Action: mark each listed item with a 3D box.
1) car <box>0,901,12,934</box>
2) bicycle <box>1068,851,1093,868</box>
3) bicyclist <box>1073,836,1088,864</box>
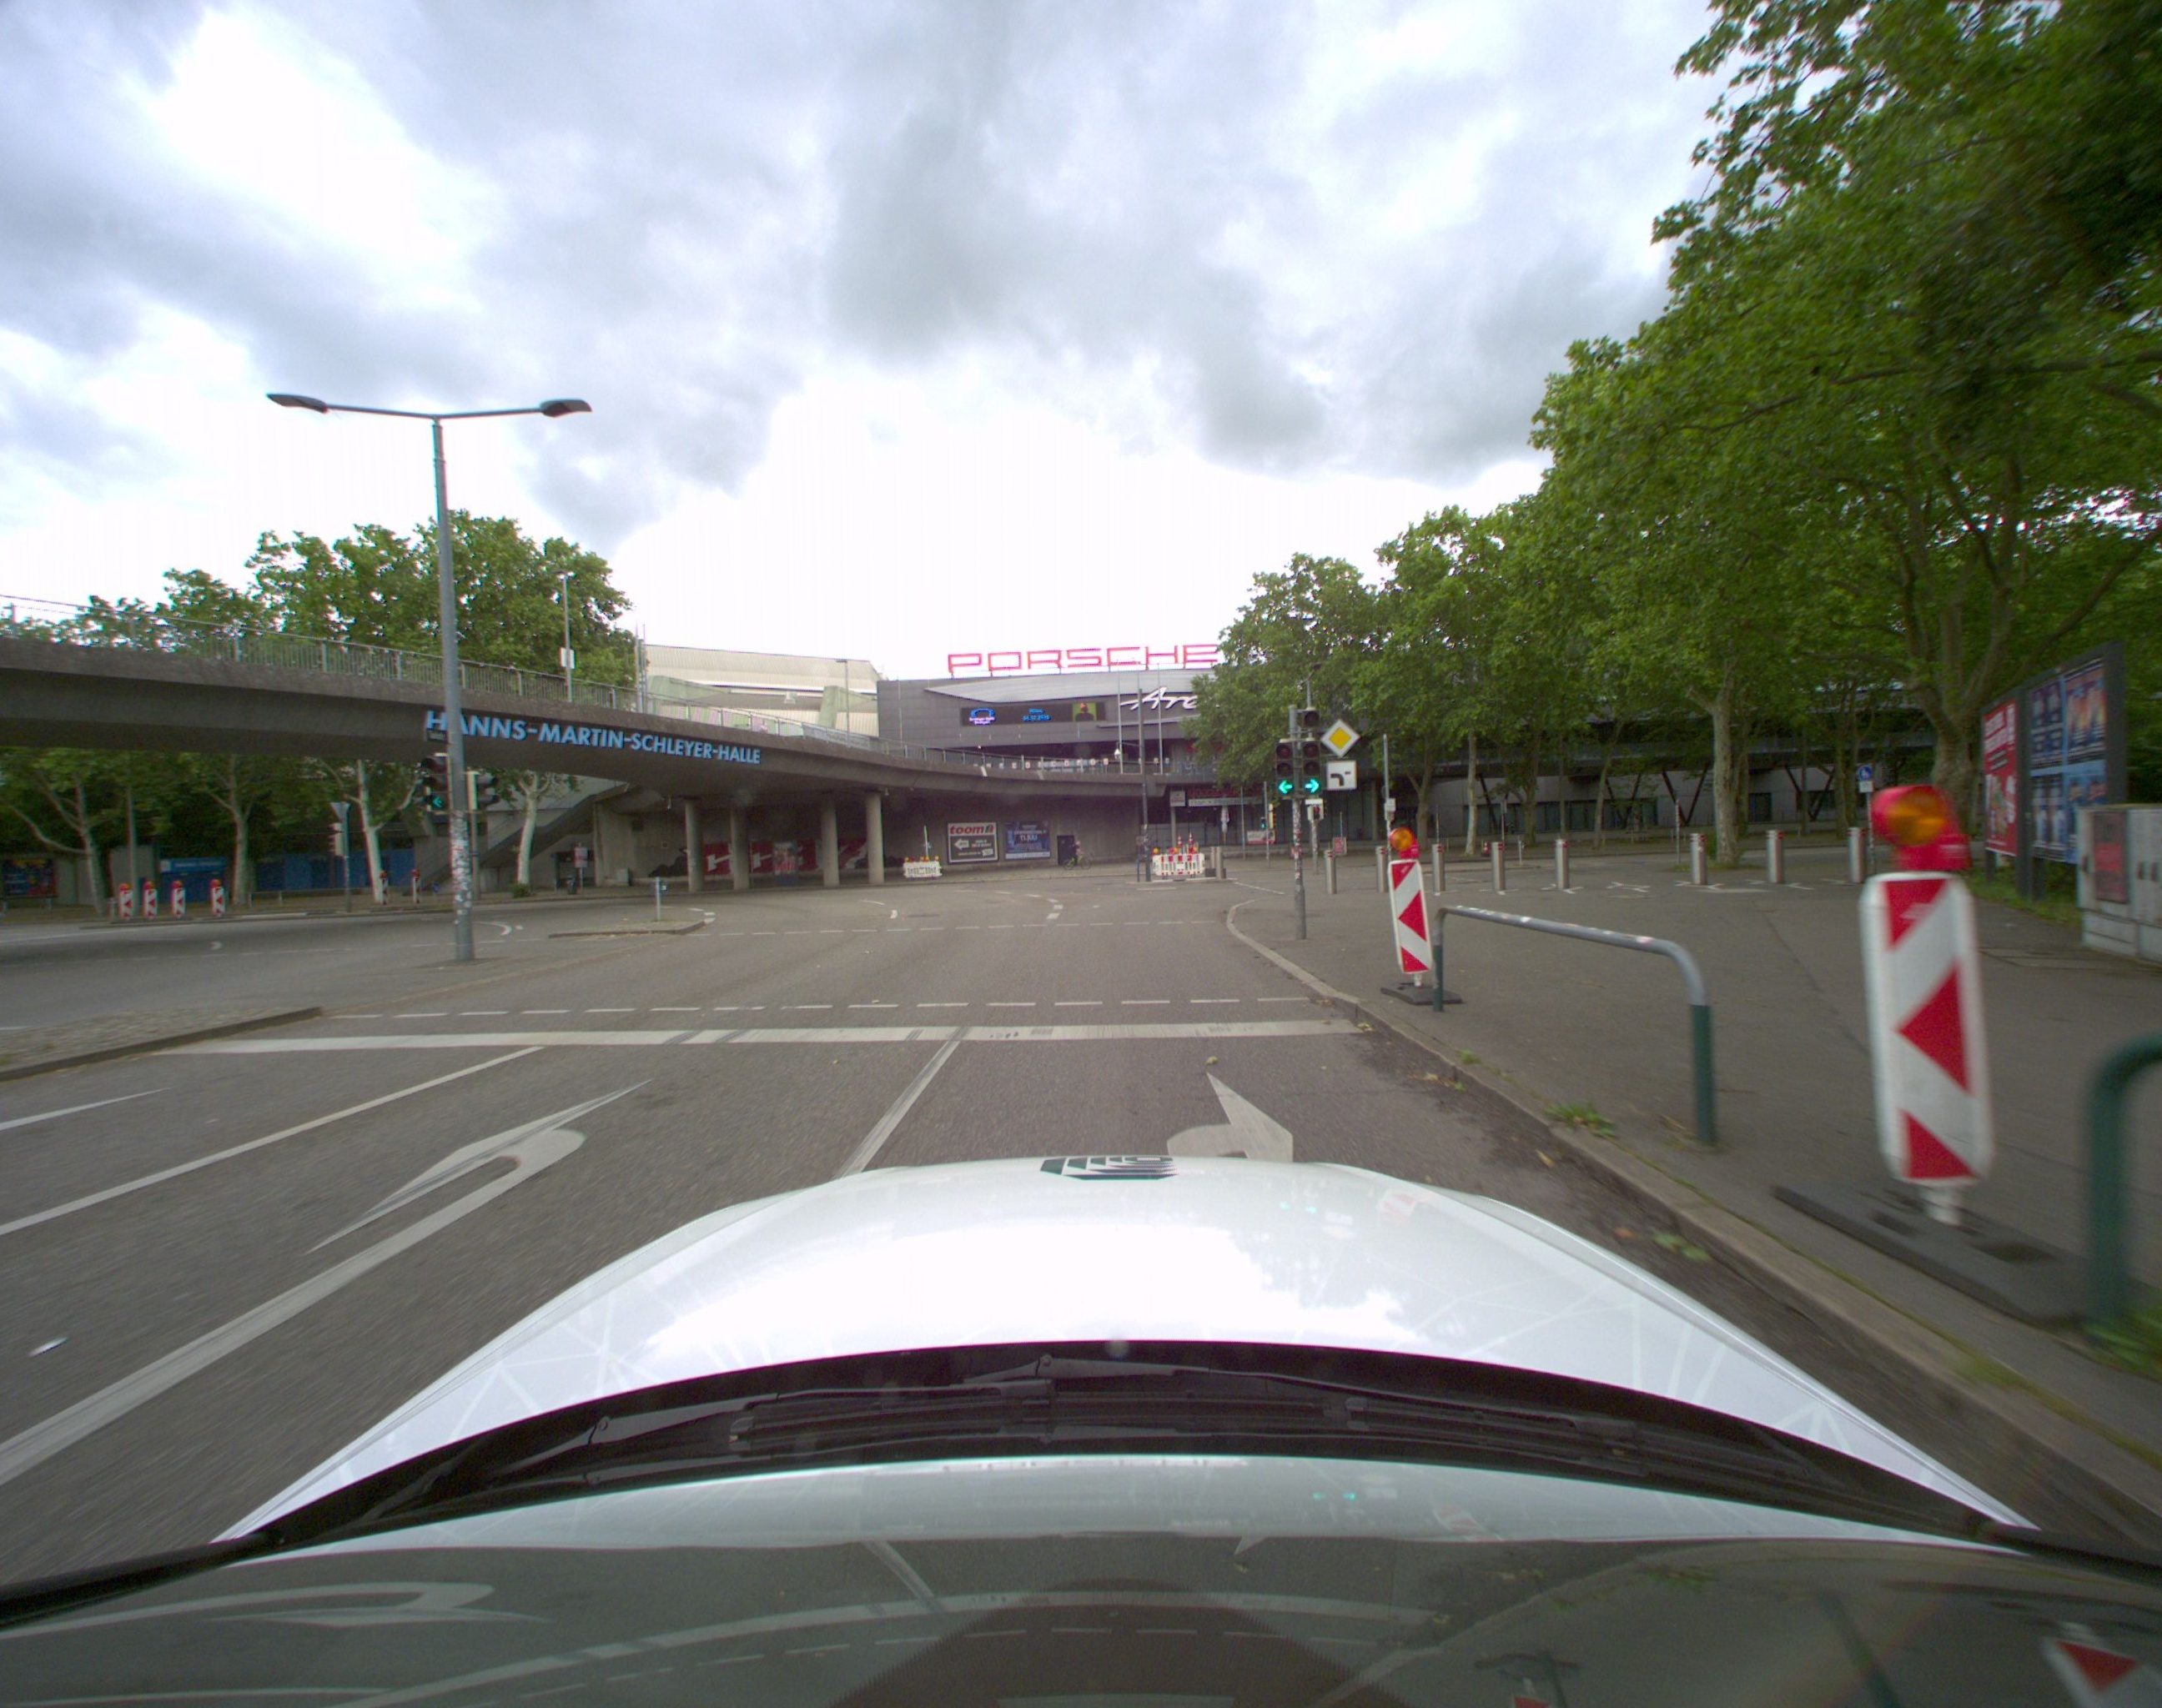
[{"bbox_3d":[-49.296,2.848,34.993,3.975,1.418,1.999,-2,0,-1],"label":"car"},{"bbox_3d":[-0.025,0.329,50.109,1.529,1.013,0.516,-1,0,-2],"label":"bicycle"},{"bbox_3d":[-0.035,-0.233,50.119,0.849,1.697,0.766,-1,0,-2],"label":"bicyclist"}]
